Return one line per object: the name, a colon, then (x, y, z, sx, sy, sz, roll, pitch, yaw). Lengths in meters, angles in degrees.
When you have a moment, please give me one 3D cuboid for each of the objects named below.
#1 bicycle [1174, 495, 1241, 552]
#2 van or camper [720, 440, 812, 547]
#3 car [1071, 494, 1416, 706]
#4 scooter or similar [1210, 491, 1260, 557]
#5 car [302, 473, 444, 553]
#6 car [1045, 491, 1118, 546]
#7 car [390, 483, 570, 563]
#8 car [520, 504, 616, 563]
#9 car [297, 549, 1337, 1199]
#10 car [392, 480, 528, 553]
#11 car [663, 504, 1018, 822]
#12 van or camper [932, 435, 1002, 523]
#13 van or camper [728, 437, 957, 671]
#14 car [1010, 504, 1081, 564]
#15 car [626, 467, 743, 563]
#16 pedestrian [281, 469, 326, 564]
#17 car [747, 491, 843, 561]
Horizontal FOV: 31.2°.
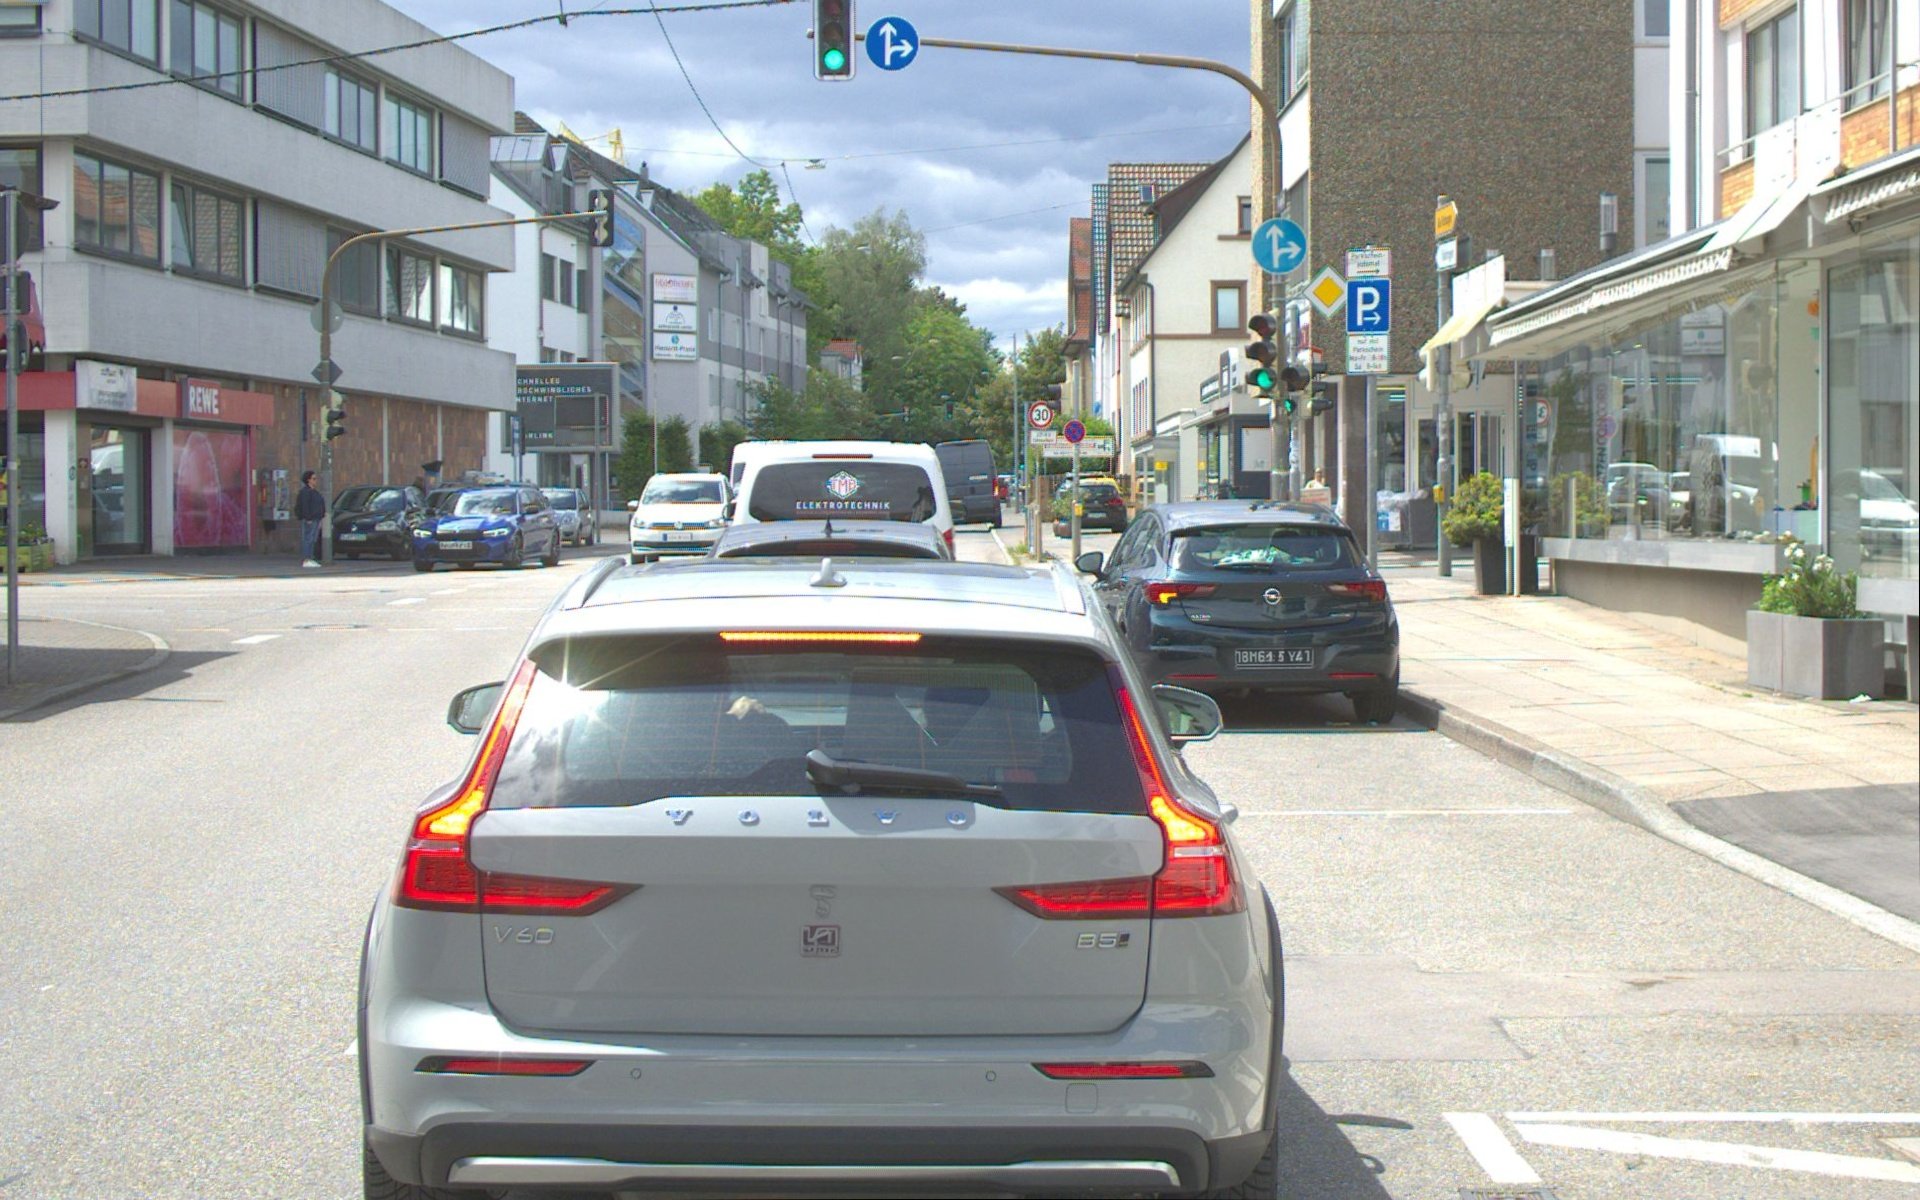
bicycle: (5.090, -1.581, 70.797, 0.554, 1.140, 2.301, -2, 2, -18)
van or camper: (-4.812, -2.696, 85.912, 2.148, 2.547, 5.439, -1, 3, -2)
car: (1.872, -0.029, 23.777, 1.807, 1.342, 3.719, 0, 1, -4)
scooter or similar: (5.383, -1.490, 67.442, 0.340, 1.249, 1.246, -3, 2, -26)
car: (-11.330, -1.686, 66.608, 1.785, 1.459, 4.086, 1, 2, 4)
car: (3.360, -2.259, 95.757, 1.710, 1.459, 4.000, 1, 0, -2)
car: (-8.440, -1.387, 60.818, 1.994, 1.333, 4.355, 0, 2, 8)
car: (-9.580, -1.615, 84.199, 1.755, 1.421, 3.862, 0, 1, 2)
car: (-0.276, 0.625, 8.079, 1.836, 1.481, 4.000, 0, 1, -1)
car: (-10.480, -1.791, 72.380, 1.904, 1.438, 4.443, 1, 2, 4)
car: (-0.580, 0.248, 17.920, 1.650, 1.477, 3.608, 1, 1, -1)
van or camper: (0.243, -3.795, 107.664, 2.123, 2.677, 4.781, -1, 2, 1)
van or camper: (-0.953, -0.462, 29.290, 1.819, 1.828, 4.001, 0, 3, -1)
car: (1.865, -1.443, 75.439, 1.438, 1.283, 3.248, 0, 1, -1)
car: (-4.939, -1.562, 61.986, 1.775, 1.607, 4.120, -1, 3, -1)
pedestrian: (-11.394, -1.454, 59.681, 0.619, 1.635, 0.660, -1, 2, 1)
car: (-3.645, -1.631, 76.499, 1.791, 1.506, 3.845, 0, 1, 2)
